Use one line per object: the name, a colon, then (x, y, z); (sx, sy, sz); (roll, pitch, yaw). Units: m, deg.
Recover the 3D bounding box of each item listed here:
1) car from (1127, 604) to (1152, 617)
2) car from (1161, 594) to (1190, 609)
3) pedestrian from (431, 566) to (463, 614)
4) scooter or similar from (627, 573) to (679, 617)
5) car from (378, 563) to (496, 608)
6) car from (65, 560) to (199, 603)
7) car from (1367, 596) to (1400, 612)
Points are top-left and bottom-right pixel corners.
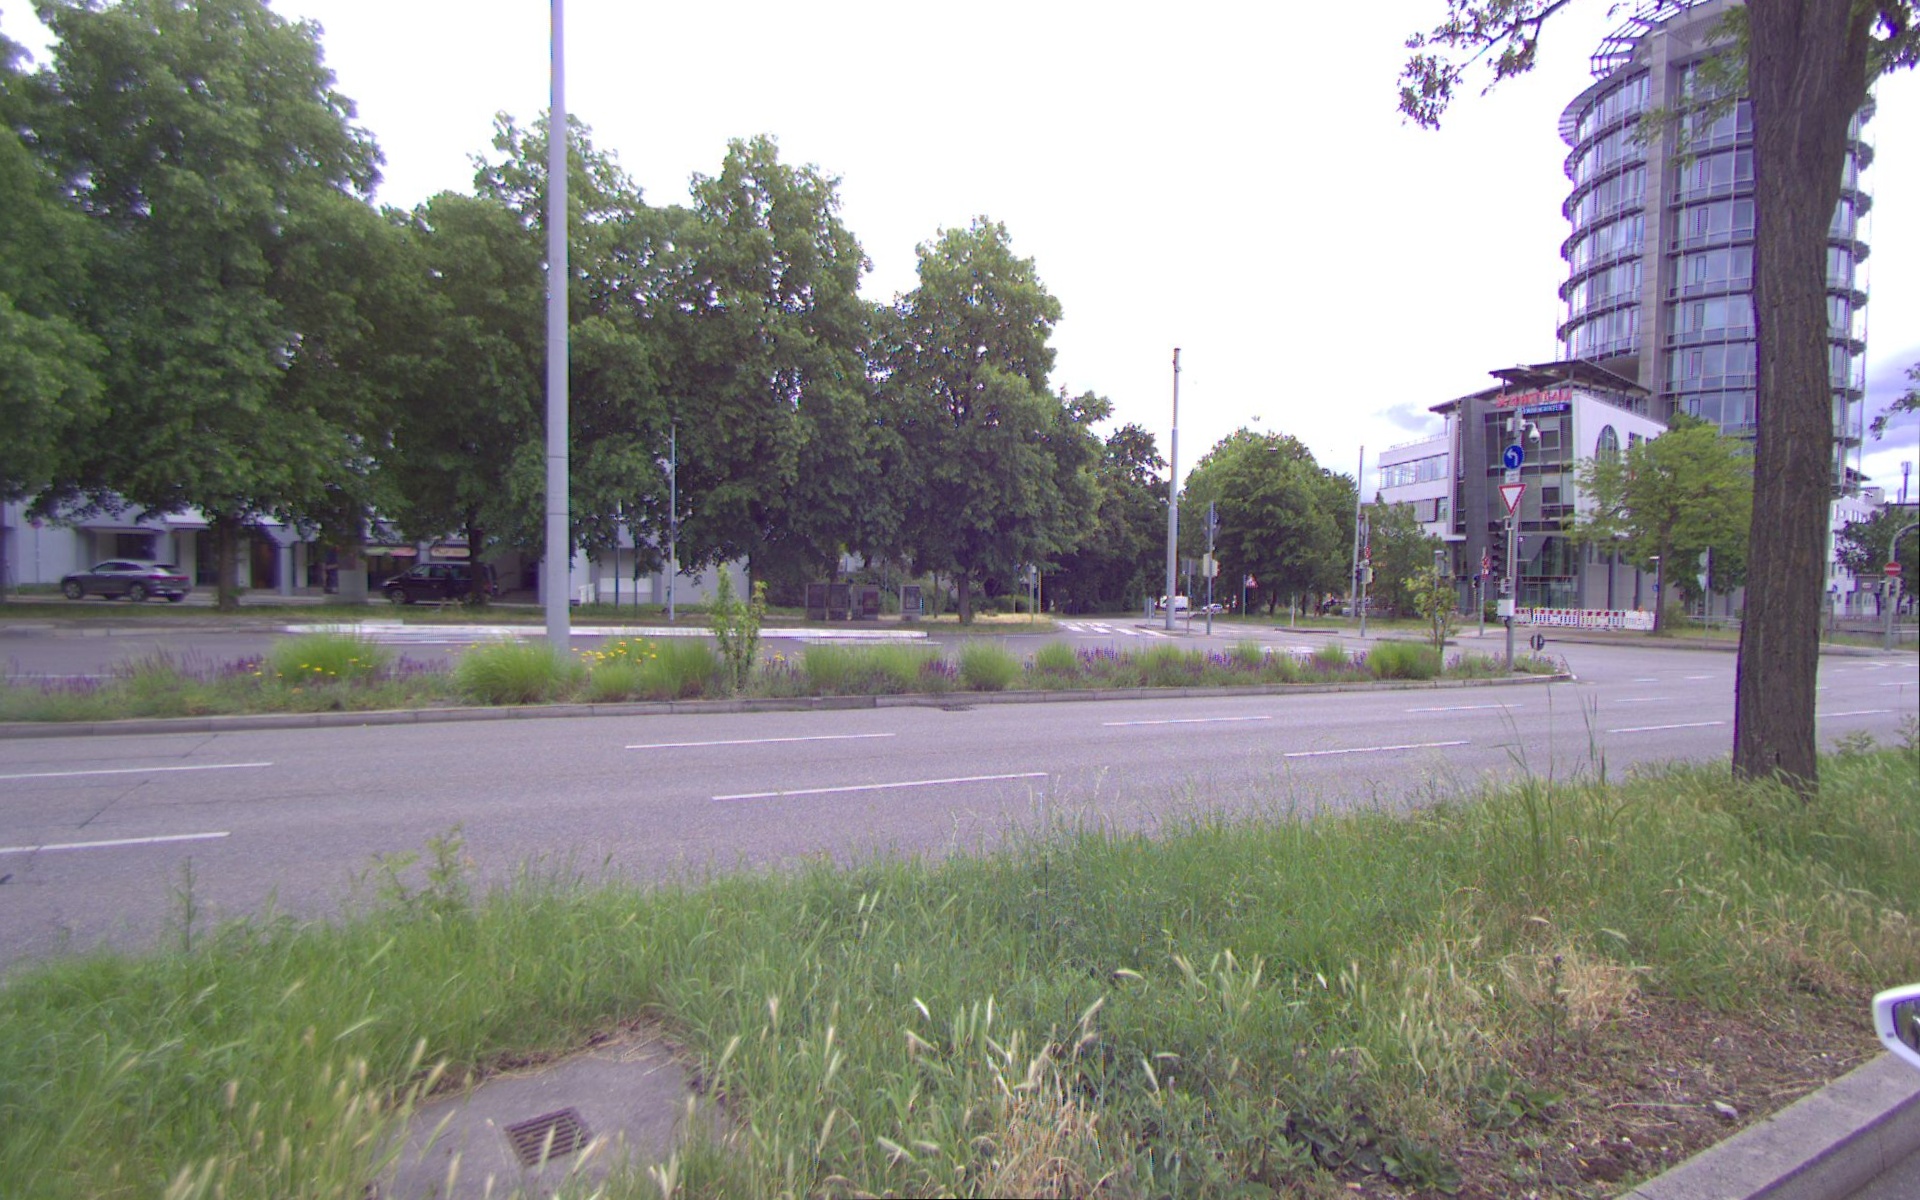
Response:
car: (30.509, 1.778, 170.900); (3.945, 2.040, 1.713); (2, 1, 44)
car: (37.735, 0.256, 175.684); (4.475, 2.370, 1.994); (2, 0, -16)
pedestrian: (-17.361, -0.348, 33.996); (0.894, 1.578, 0.766); (1, 1, -30)
scooter or similar: (-11.874, -0.189, 38.865); (1.835, 1.686, 0.645); (1, 1, -43)
car: (-23.320, -0.644, 44.964); (4.345, 1.872, 1.781); (1, 1, -16)
car: (-32.403, -0.719, 39.379); (3.919, 1.532, 1.760); (2, 1, 5)
car: (25.039, 0.233, 59.405); (1.684, 0.888, 0.776); (1, 0, 7)
